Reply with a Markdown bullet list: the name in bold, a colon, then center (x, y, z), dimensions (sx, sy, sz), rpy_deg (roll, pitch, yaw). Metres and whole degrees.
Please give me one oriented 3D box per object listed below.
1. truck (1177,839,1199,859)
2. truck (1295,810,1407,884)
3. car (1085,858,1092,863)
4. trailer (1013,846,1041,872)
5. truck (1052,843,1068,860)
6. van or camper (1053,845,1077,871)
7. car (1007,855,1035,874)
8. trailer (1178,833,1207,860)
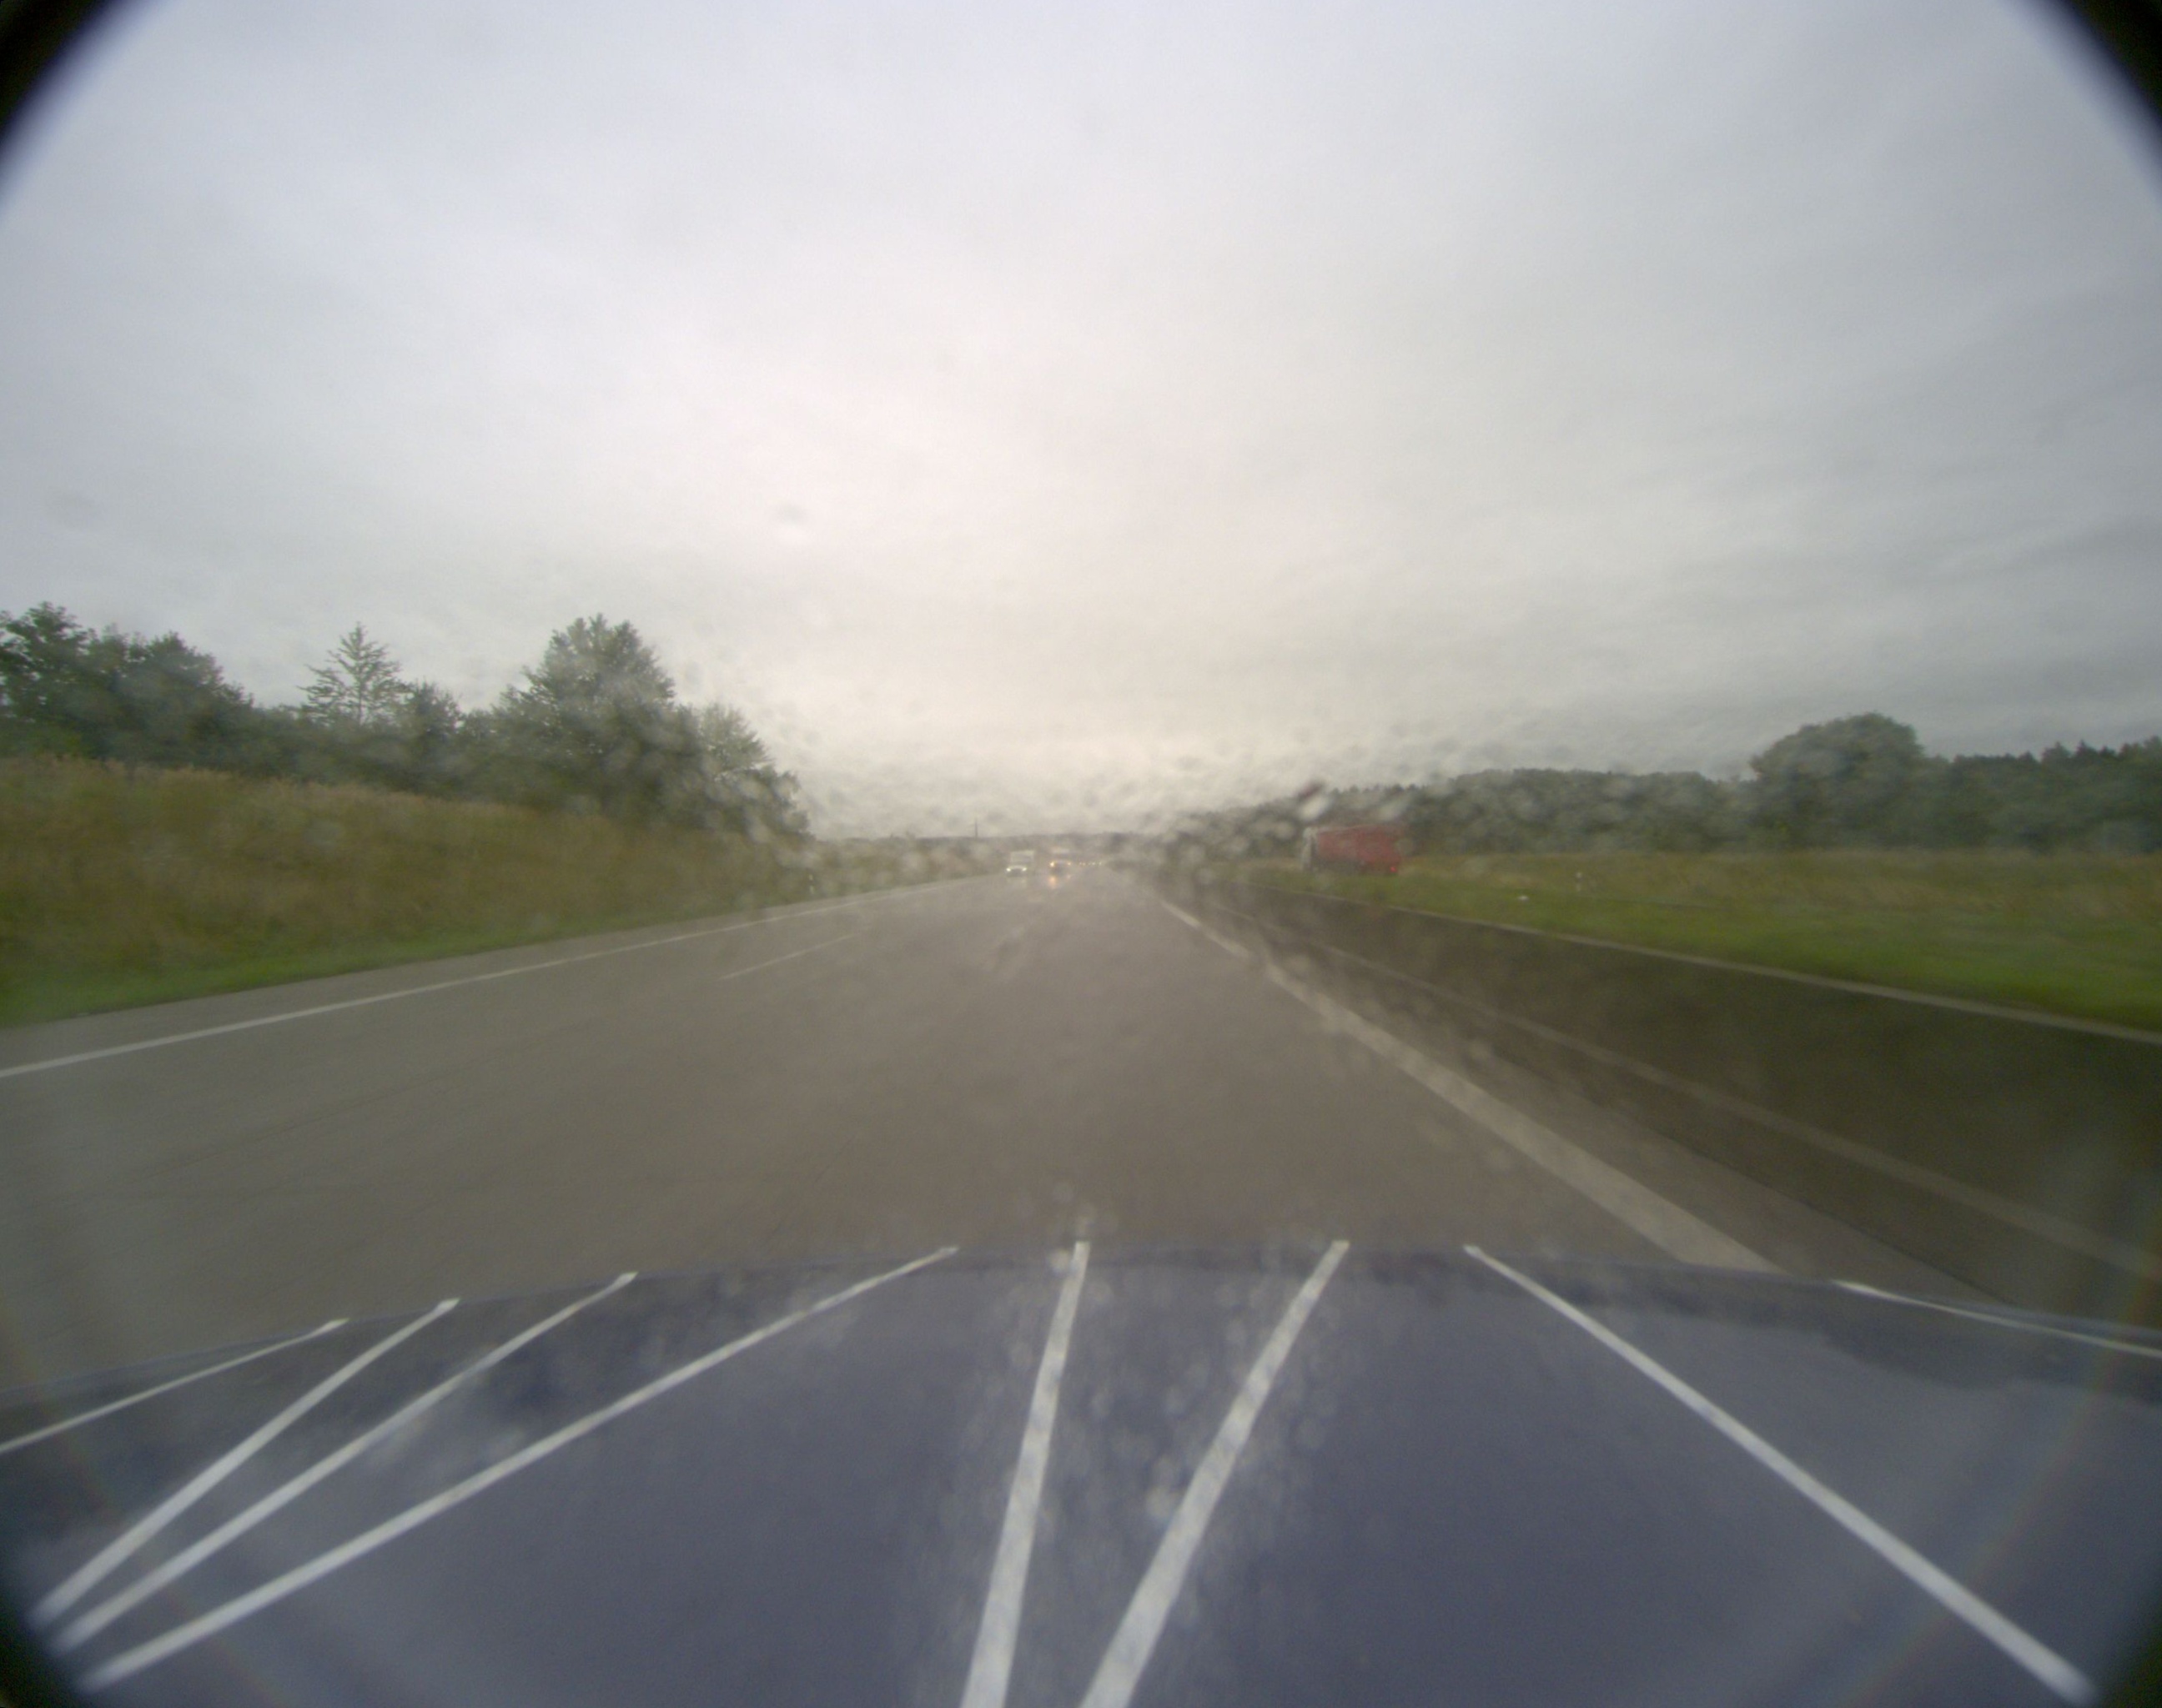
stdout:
- **truck**: center (19.104, -0.829, 136.465), dimensions (3.205, 3.453, 6.036), rpy_deg (0, 0, 1)
- **truck**: center (17.107, -0.581, 49.487), dimensions (2.761, 4.183, 13.099), rpy_deg (0, 2, 1)
- **car**: center (2.255, 1.867, 228.286), dimensions (1.998, 1.576, 5.011), rpy_deg (-1, 0, 2)
- **trailer**: center (-5.409, 0.423, 77.105), dimensions (2.349, 2.445, 5.938), rpy_deg (0, 1, 1)
- **truck**: center (-4.010, -0.485, 146.011), dimensions (2.496, 3.197, 7.071), rpy_deg (-1, 0, 2)
- **van or camper**: center (-1.631, 0.375, 79.931), dimensions (2.233, 2.537, 7.950), rpy_deg (0, 0, 1)
- **car**: center (-5.558, 0.969, 71.150), dimensions (1.998, 1.576, 5.952), rpy_deg (-2, 1, 1)
- **trailer**: center (18.898, -1.252, 129.449), dimensions (3.236, 4.315, 13.554), rpy_deg (-1, 0, 2)
